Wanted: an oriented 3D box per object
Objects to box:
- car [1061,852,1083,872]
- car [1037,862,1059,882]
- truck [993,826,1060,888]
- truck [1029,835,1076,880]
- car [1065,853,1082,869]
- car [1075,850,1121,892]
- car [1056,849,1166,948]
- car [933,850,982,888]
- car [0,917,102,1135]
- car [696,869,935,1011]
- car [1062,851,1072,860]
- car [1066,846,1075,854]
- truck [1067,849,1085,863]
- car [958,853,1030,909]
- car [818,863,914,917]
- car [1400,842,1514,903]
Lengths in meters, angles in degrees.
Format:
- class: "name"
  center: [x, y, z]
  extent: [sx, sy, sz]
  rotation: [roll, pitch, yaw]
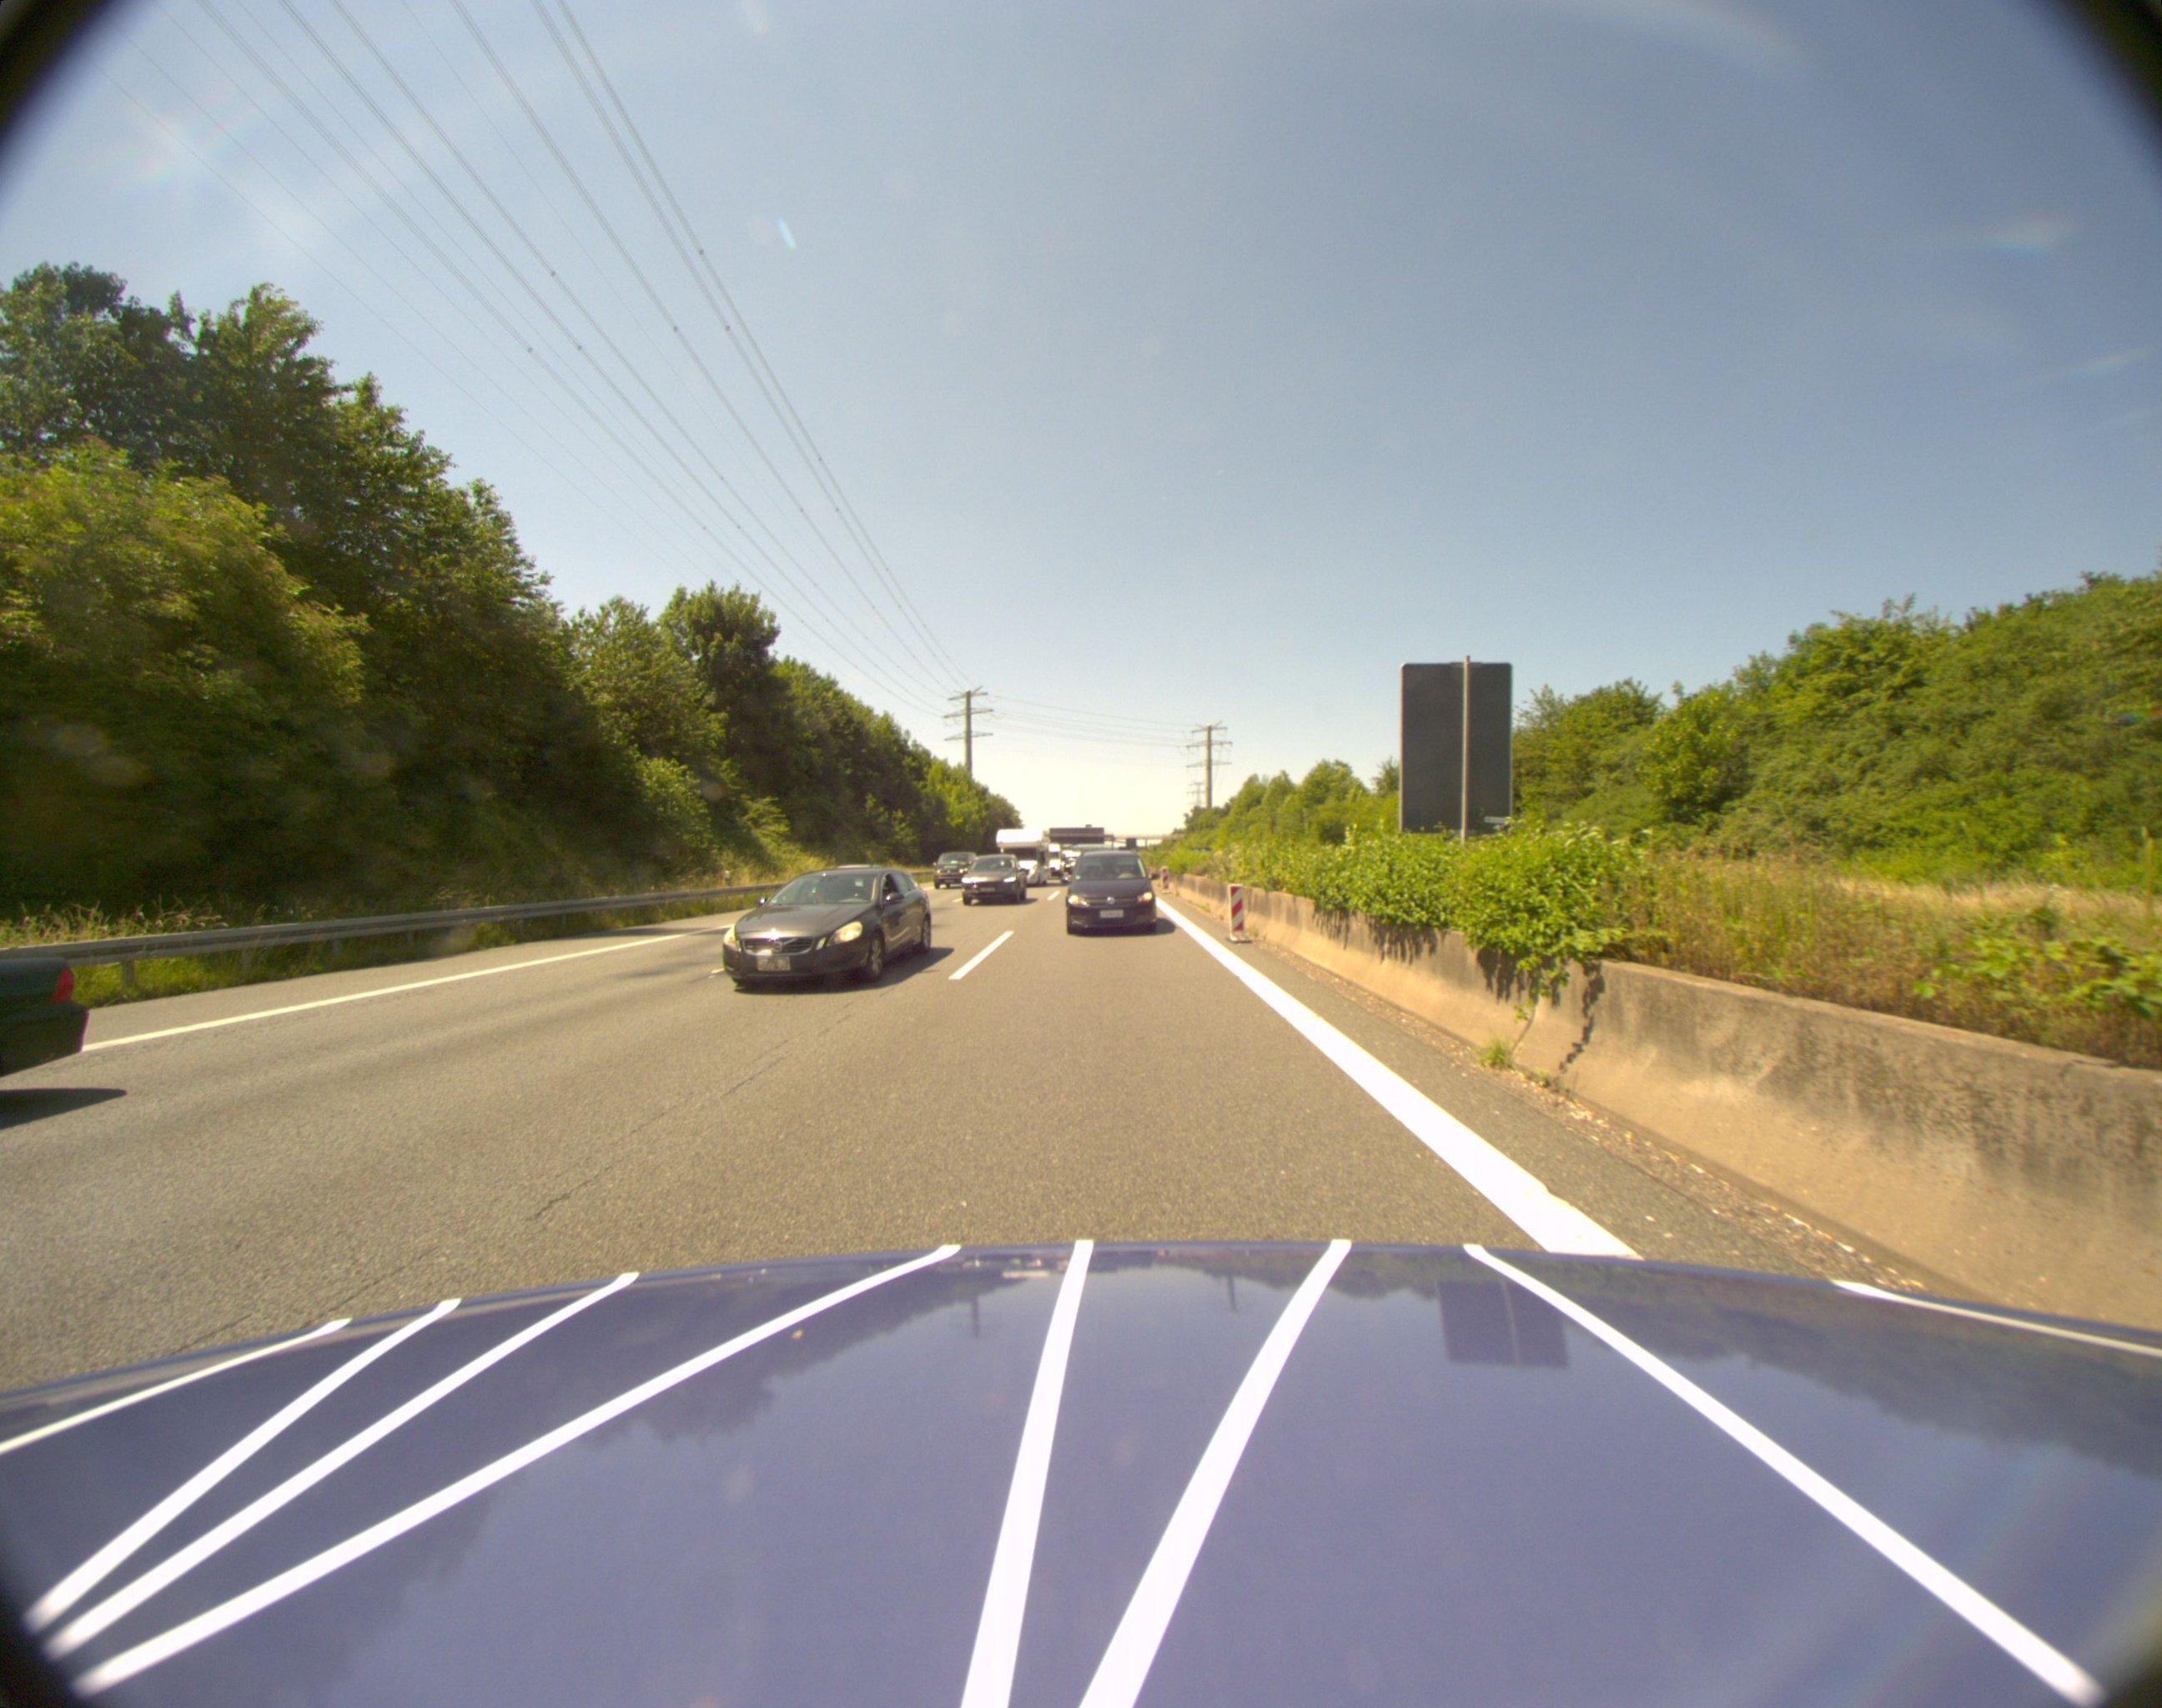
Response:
- class: "car"
  center: [-0.782, 0.663, 68.748]
  extent: [1.892, 1.693, 4.383]
  rotation: [-2, 1, 0]
- class: "car"
  center: [-3.174, 1.721, 74.347]
  extent: [1.892, 1.693, 4.383]
  rotation: [-2, 1, 0]
- class: "truck"
  center: [-2.895, 0.110, 43.258]
  extent: [2.514, 2.997, 9.898]
  rotation: [-2, 1, 3]
- class: "truck"
  center: [-1.989, 0.173, 56.843]
  extent: [2.514, 2.997, 9.898]
  rotation: [-2, 1, 3]
- class: "car"
  center: [-0.900, 0.792, 89.694]
  extent: [1.892, 1.693, 4.383]
  rotation: [-2, 1, 0]
- class: "car"
  center: [0.724, 0.725, 34.453]
  extent: [1.892, 1.693, 4.383]
  rotation: [-2, 1, 0]
- class: "car"
  center: [0.552, 0.772, 15.709]
  extent: [1.892, 1.693, 4.383]
  rotation: [-2, 1, 0]
- class: "car"
  center: [-6.763, 0.793, 42.103]
  extent: [1.788, 1.893, 4.698]
  rotation: [-2, 1, 2]
- class: "car"
  center: [-7.941, 1.188, 3.294]
  extent: [1.739, 1.370, 4.302]
  rotation: [-2, 1, 1]
- class: "car"
  center: [-3.416, 1.018, 10.727]
  extent: [1.800, 1.429, 4.230]
  rotation: [-2, 1, 0]
- class: "car"
  center: [-3.203, 0.296, 172.793]
  extent: [1.998, 2.002, 4.000]
  rotation: [-2, 1, 2]
- class: "car"
  center: [-2.719, -1.006, 202.350]
  extent: [1.998, 2.002, 4.000]
  rotation: [-2, 1, 2]
- class: "truck"
  center: [-0.818, 0.270, 124.561]
  extent: [2.408, 2.203, 6.744]
  rotation: [-2, 1, 3]
- class: "car"
  center: [-2.896, 0.841, 26.264]
  extent: [1.892, 1.693, 4.383]
  rotation: [-2, 1, 0]
- class: "car"
  center: [-6.720, 1.077, 24.203]
  extent: [1.745, 1.461, 4.014]
  rotation: [-2, 0, 2]
- class: "car"
  center: [13.687, 0.622, 28.025]
  extent: [1.998, 2.084, 4.607]
  rotation: [0, 0, 1]
